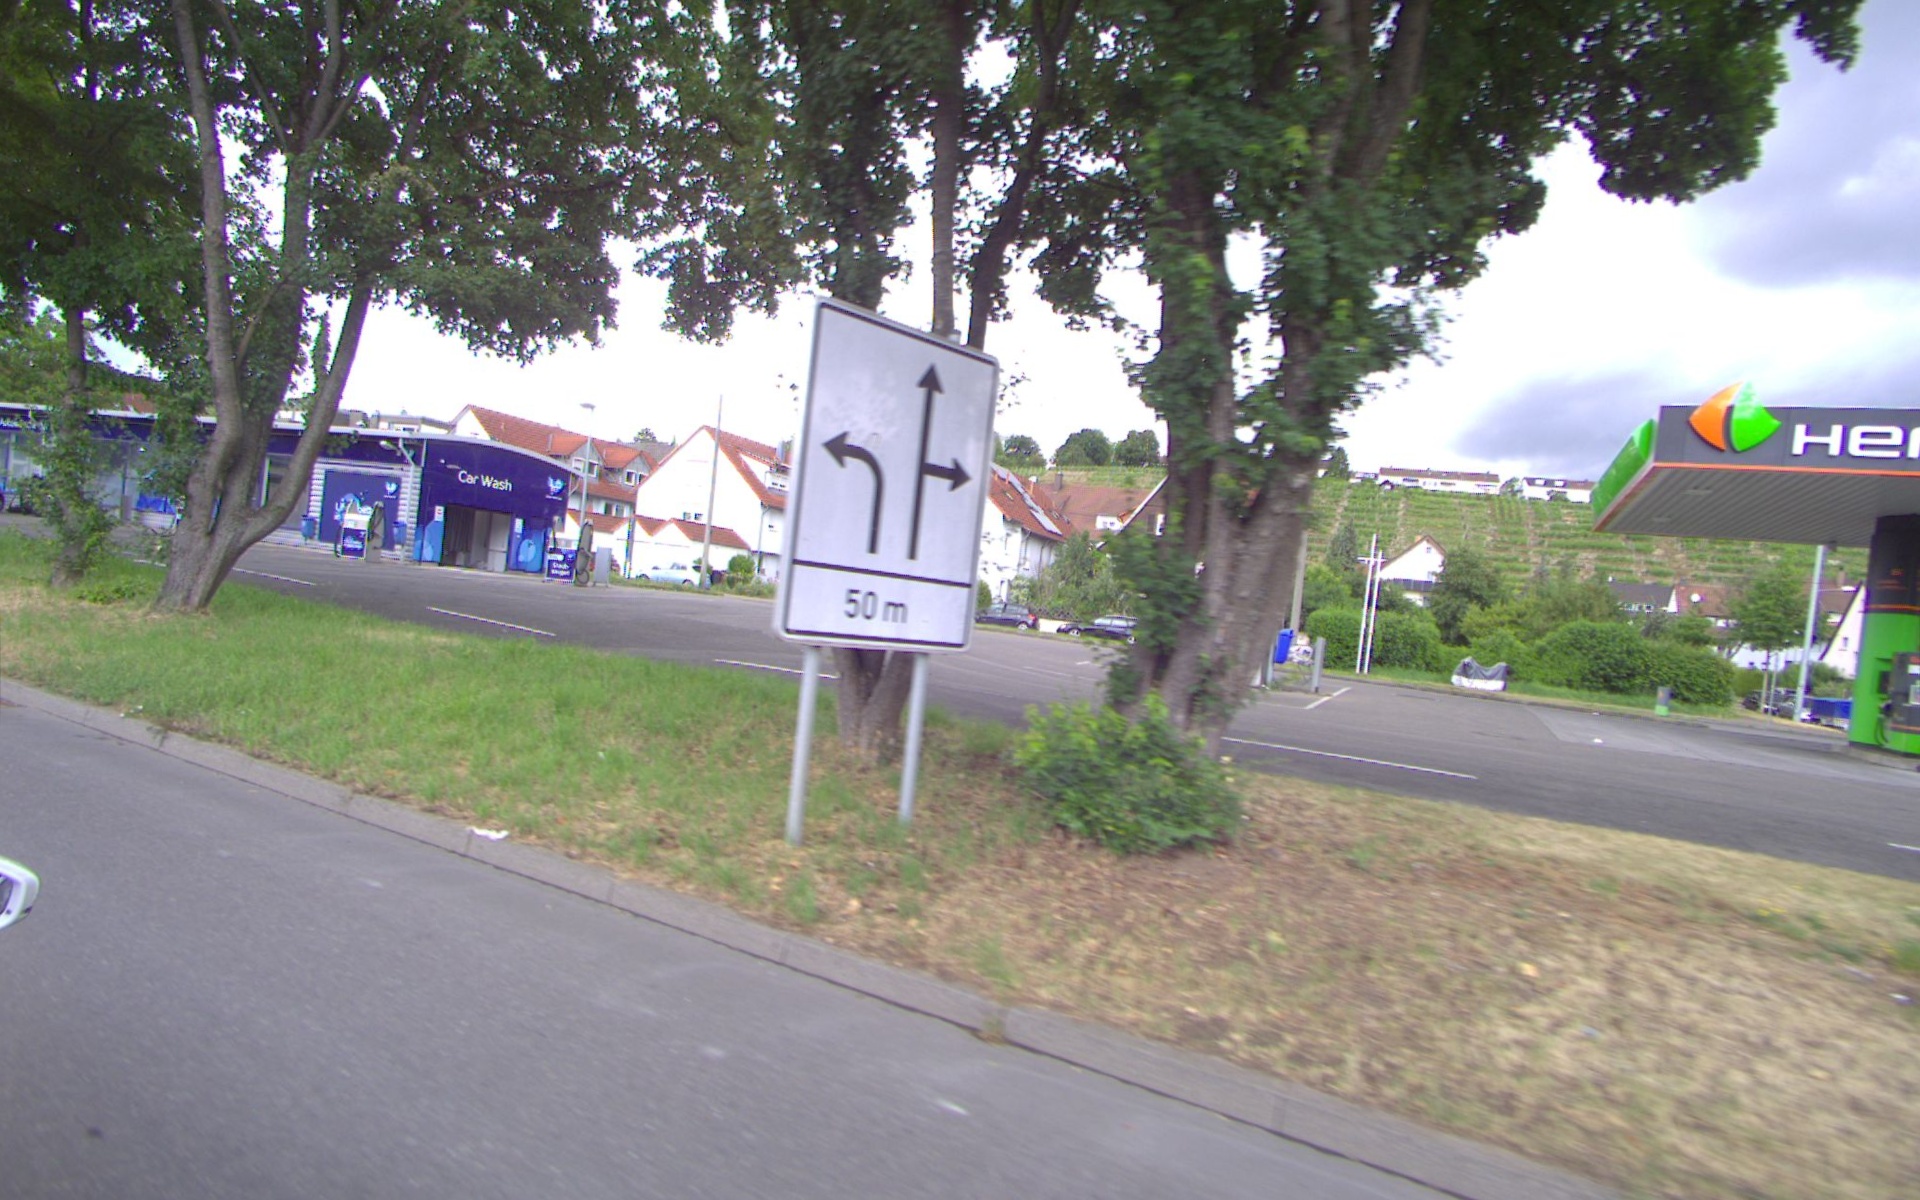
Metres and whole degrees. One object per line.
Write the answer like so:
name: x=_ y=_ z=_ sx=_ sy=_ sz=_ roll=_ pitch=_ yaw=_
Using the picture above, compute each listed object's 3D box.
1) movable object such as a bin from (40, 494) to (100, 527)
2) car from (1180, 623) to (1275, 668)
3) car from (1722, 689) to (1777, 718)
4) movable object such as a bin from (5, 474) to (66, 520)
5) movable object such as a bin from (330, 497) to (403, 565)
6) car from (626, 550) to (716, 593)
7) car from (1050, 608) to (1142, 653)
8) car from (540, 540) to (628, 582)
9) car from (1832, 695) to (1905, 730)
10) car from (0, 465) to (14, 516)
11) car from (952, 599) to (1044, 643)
movable object such as a bin: x=-32.024 y=-3.215 z=36.206 sx=1.167 sy=0.988 sz=1.161 roll=7 pitch=1 yaw=23
car: x=12.106 y=2.073 z=45.632 sx=3.924 sy=1.481 sz=2.003 roll=7 pitch=-2 yaw=15
car: x=45.705 y=5.995 z=58.311 sx=1.640 sy=1.420 sz=3.878 roll=7 pitch=-2 yaw=27
movable object such as a bin: x=-34.578 y=-3.841 z=37.638 sx=1.362 sy=1.493 sz=1.161 roll=7 pitch=1 yaw=23
movable object such as a bin: x=-18.180 y=-2.106 z=30.819 sx=1.429 sy=1.842 sz=1.161 roll=7 pitch=1 yaw=23
car: x=-14.998 y=-1.470 z=52.314 sx=3.924 sy=1.593 sz=1.788 roll=8 pitch=-2 yaw=11
car: x=6.365 y=1.433 z=46.886 sx=3.924 sy=1.481 sz=2.003 roll=7 pitch=-2 yaw=15
car: x=-20.058 y=-2.059 z=53.749 sx=3.924 sy=1.593 sz=1.788 roll=7 pitch=-2 yaw=11
car: x=54.131 y=6.653 z=60.036 sx=1.964 sy=1.557 sz=3.995 roll=7 pitch=1 yaw=25
car: x=-35.739 y=-4.076 z=35.296 sx=1.724 sy=1.844 sz=4.369 roll=6 pitch=1 yaw=-15
car: x=1.855 y=1.023 z=48.154 sx=3.924 sy=1.481 sz=2.003 roll=7 pitch=-2 yaw=15
